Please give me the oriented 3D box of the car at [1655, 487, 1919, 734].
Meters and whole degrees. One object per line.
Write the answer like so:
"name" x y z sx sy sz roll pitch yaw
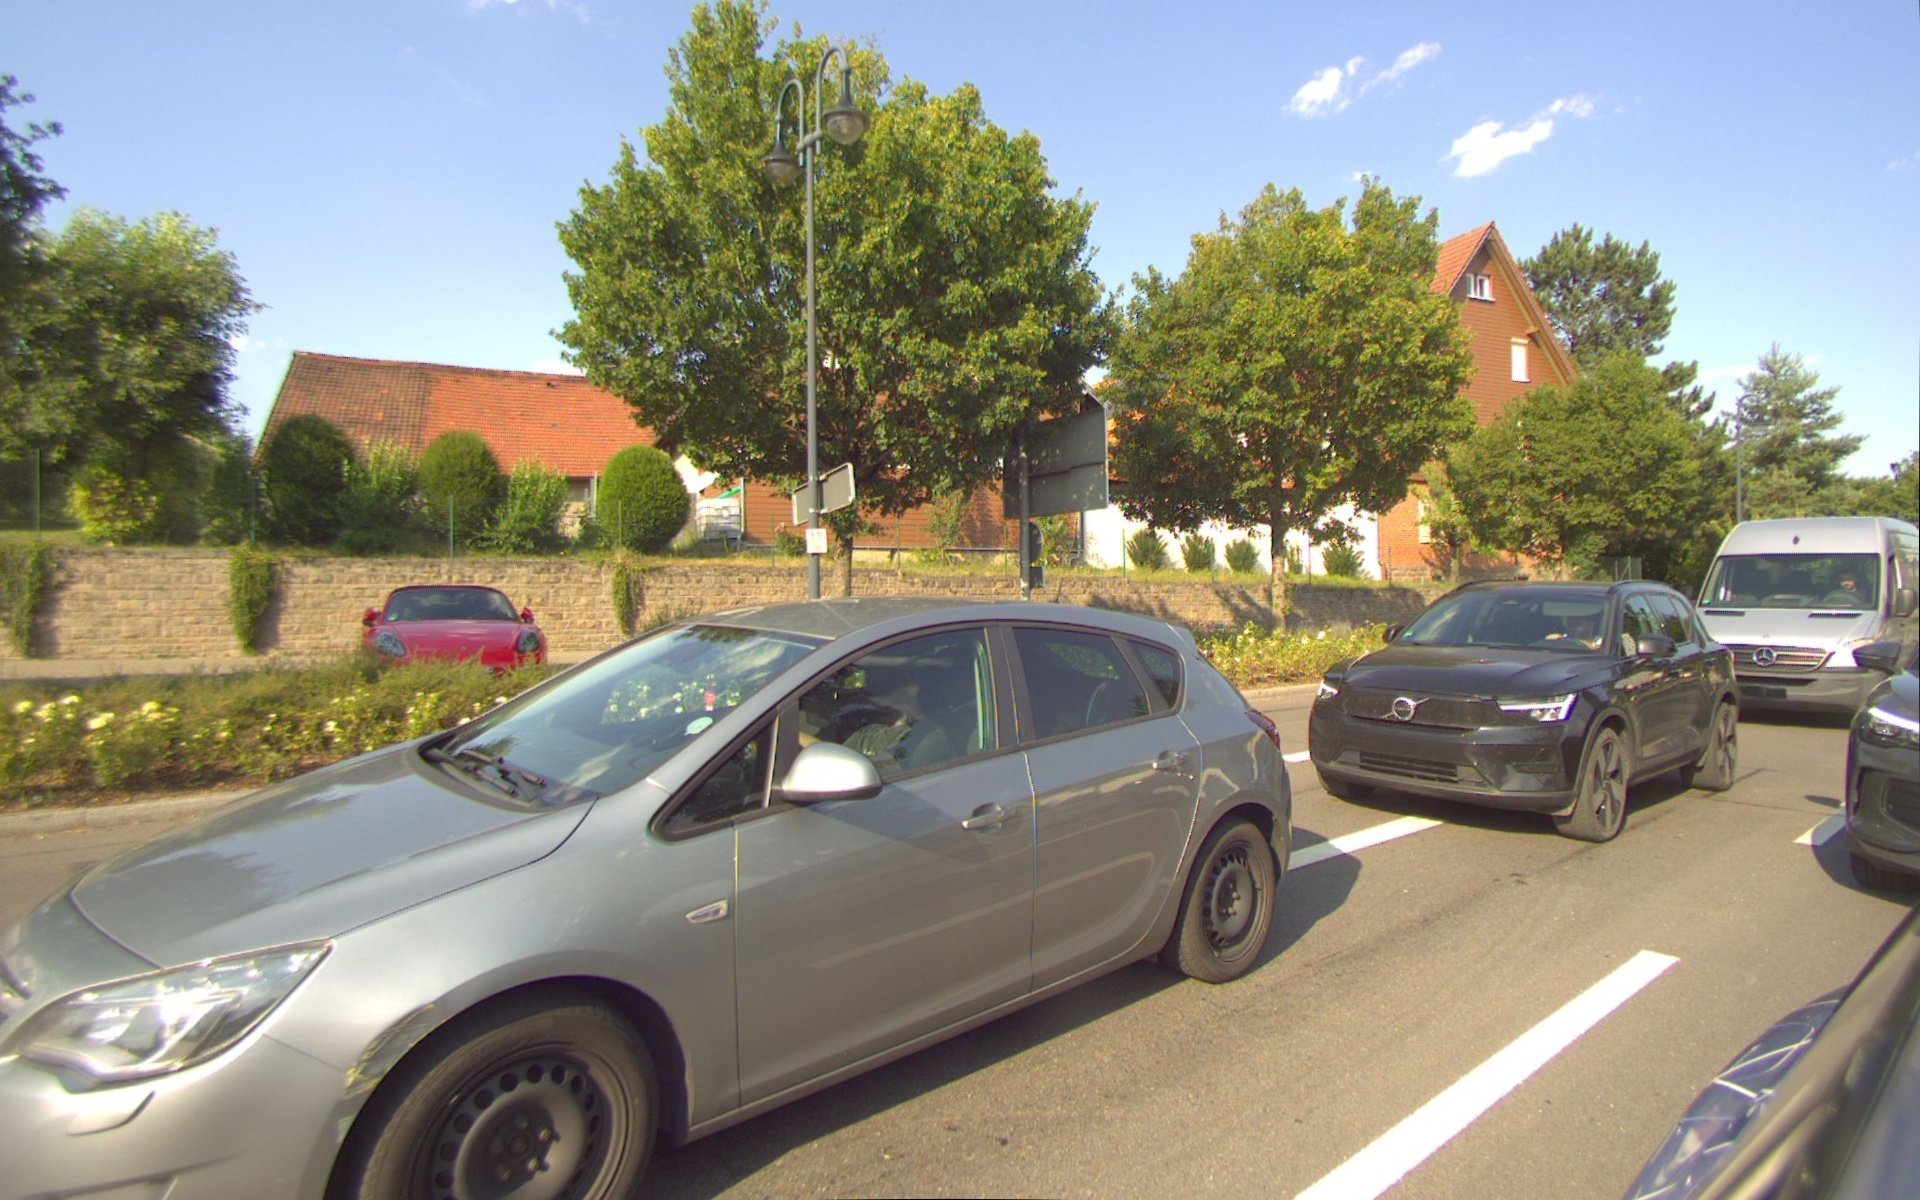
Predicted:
"car" 11.595 0.086 13.456 6.082 2.579 2.369 0 0 -40

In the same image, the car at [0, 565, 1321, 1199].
"car" -0.608 0.662 3.484 4.095 1.460 1.746 0 0 -41

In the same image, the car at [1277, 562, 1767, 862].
"car" 4.325 0.594 7.541 4.054 1.629 1.885 0 0 -40

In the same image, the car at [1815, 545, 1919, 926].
"car" 6.377 0.591 5.513 4.646 1.677 1.893 0 0 -40

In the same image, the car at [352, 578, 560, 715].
"car" -5.801 0.424 11.662 1.816 1.288 4.005 0 0 -28
